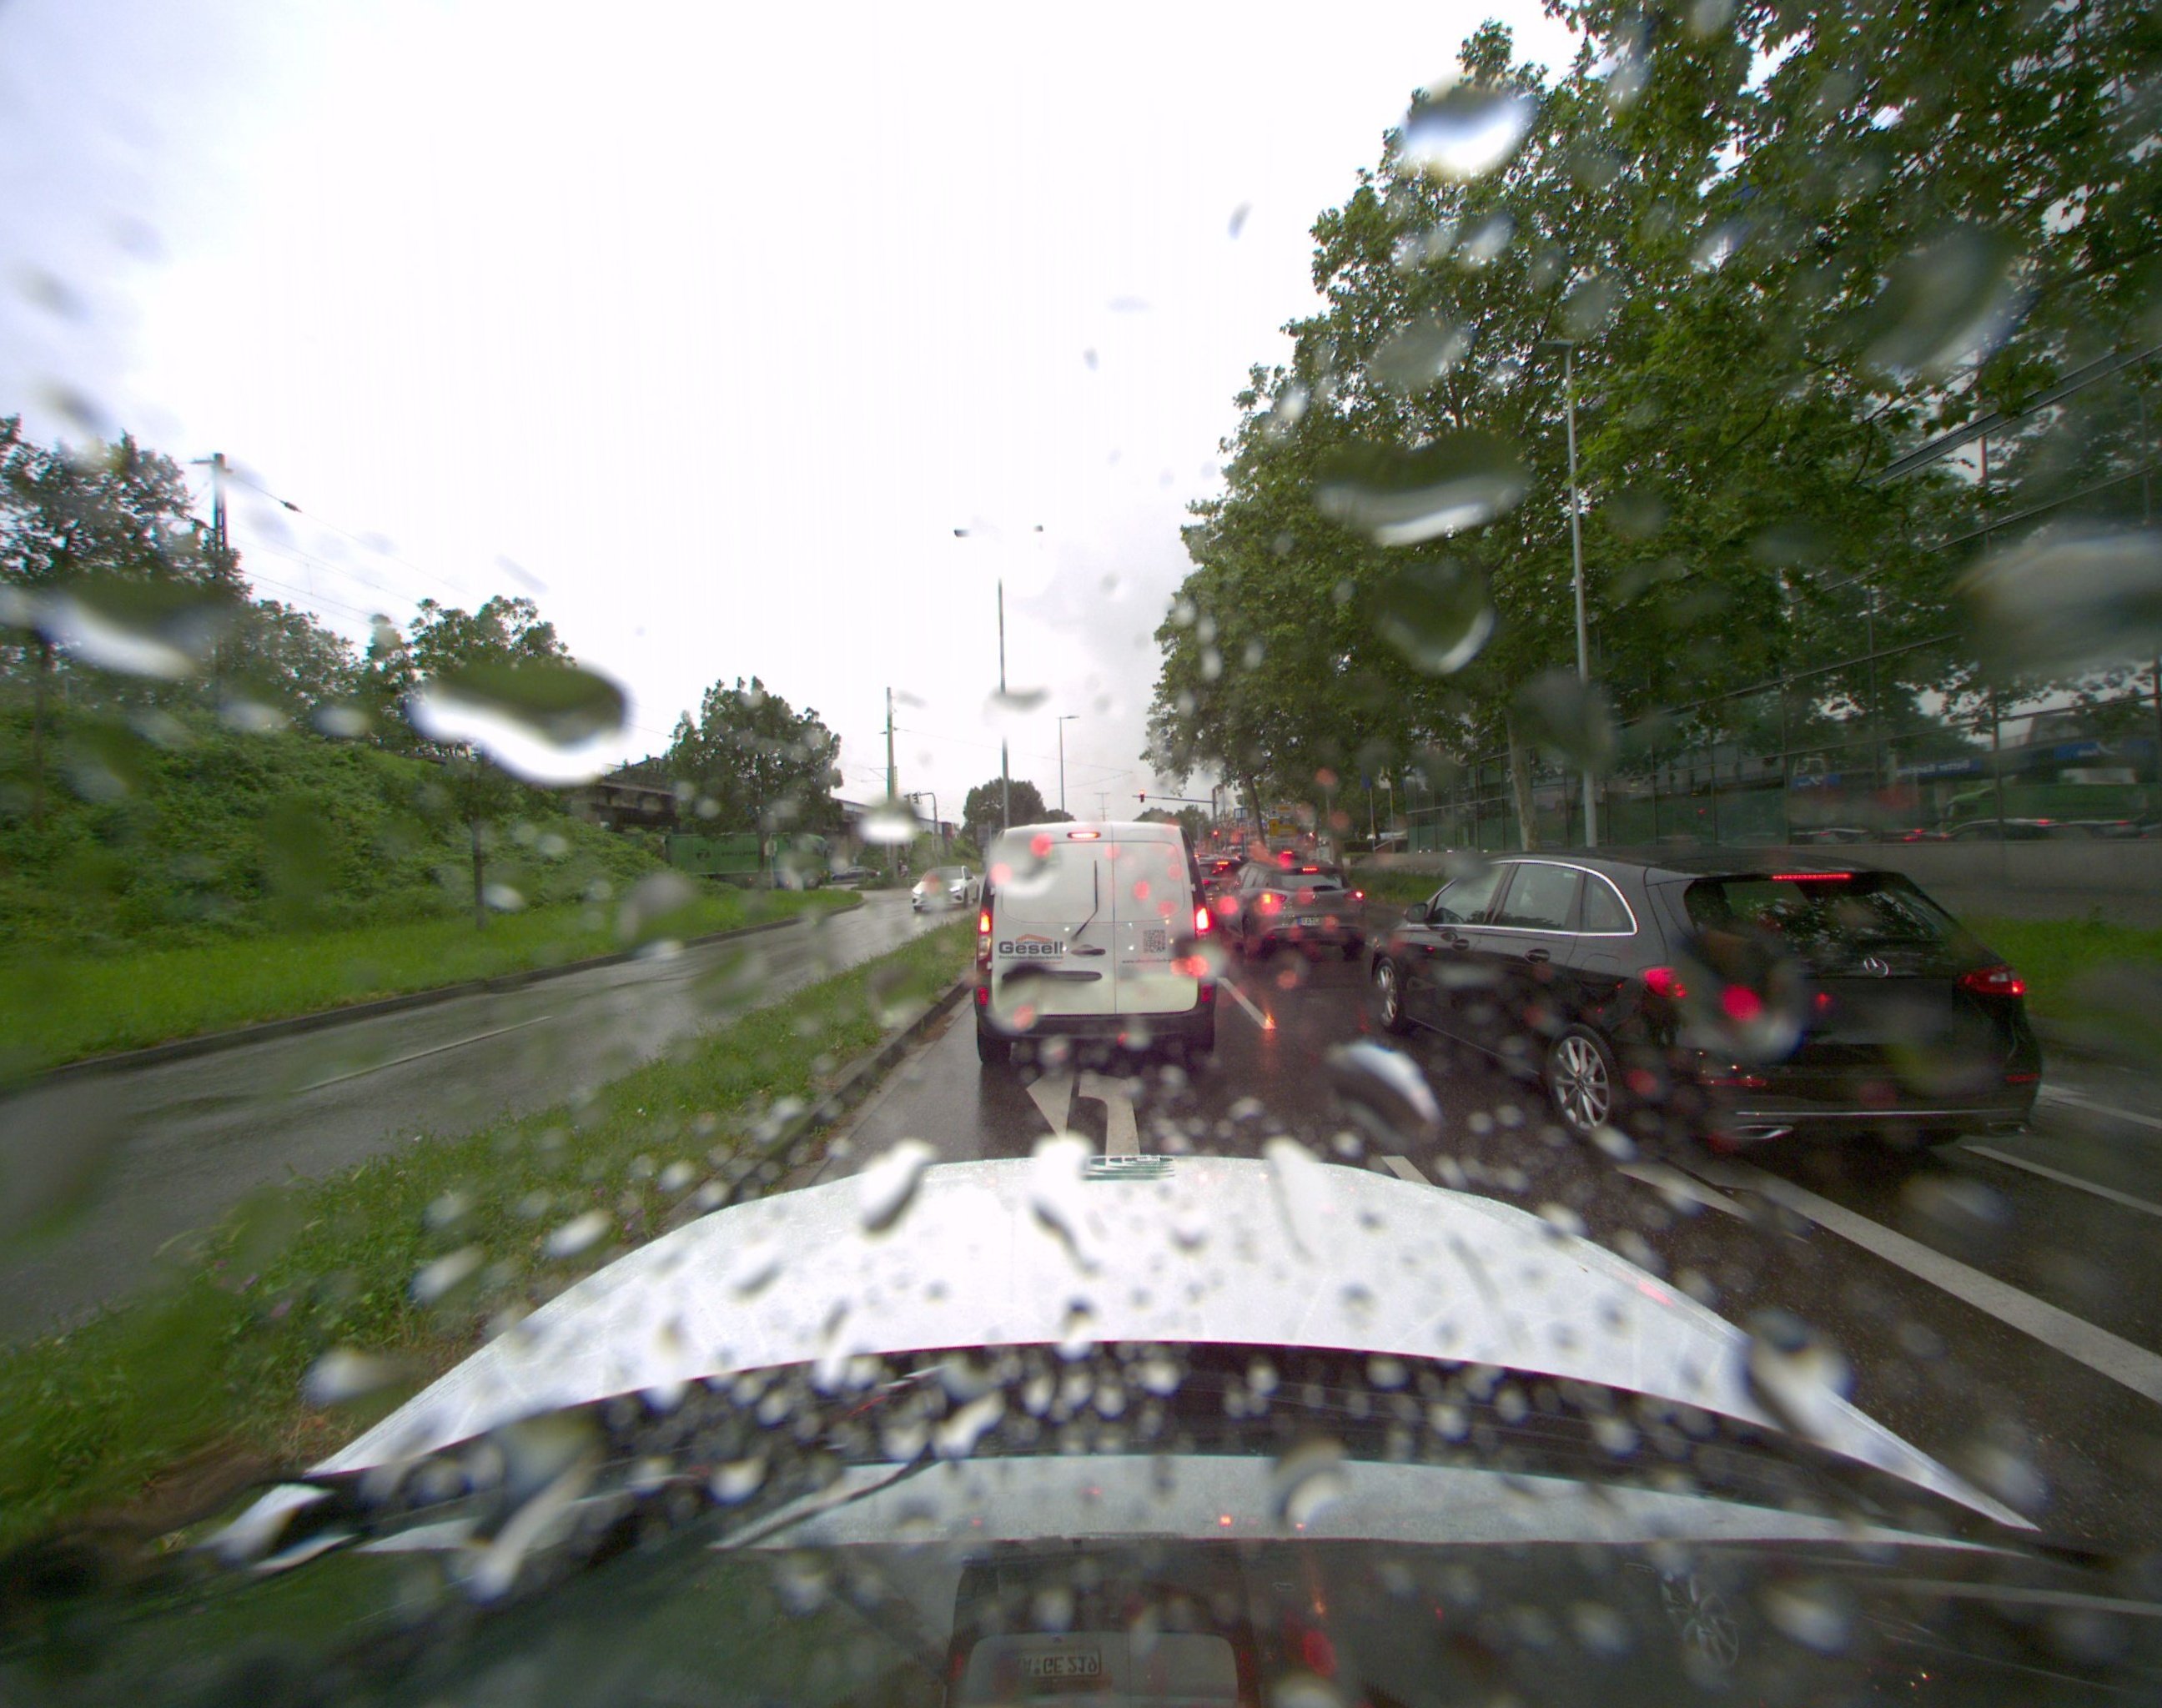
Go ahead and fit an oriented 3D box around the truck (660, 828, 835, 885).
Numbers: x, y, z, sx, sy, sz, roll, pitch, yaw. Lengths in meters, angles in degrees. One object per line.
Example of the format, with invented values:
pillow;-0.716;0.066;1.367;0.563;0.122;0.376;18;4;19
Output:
truck;-21.199;0.092;52.322;10.105;3.371;2.322;-2;0;-35

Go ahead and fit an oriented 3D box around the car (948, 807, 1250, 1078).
car;0.194;0.591;7.764;1.986;1.776;4.587;-1;0;2

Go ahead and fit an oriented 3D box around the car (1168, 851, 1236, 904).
car;4.060;0.732;27.893;1.847;1.649;3.844;-1;0;2

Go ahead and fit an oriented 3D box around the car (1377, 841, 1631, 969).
car;6.094;0.635;12.325;1.869;1.613;4.002;0;0;2

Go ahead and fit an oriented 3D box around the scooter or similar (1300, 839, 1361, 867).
scooter or similar;23.448;-0.071;76.678;1.905;2.446;5.257;-1;0;-39

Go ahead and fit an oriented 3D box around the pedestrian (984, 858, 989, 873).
pedestrian;-11.248;1.377;96.729;0.541;1.716;0.563;0;-1;-2

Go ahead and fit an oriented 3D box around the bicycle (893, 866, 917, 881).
bicycle;-12.128;1.338;56.015;1.045;0.952;2.866;-2;0;-22

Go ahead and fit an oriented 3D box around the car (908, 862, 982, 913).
car;-4.696;1.124;28.702;1.728;1.519;4.048;-4;-1;1

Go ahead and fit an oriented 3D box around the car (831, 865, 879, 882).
car;-20.793;1.781;75.022;3.886;1.385;1.663;-2;0;-35

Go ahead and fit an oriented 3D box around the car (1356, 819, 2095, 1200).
car;3.377;0.649;5.441;1.741;1.554;4.091;-1;0;1

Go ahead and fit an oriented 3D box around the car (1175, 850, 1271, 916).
car;3.502;0.659;20.674;1.847;1.460;3.844;-1;0;2

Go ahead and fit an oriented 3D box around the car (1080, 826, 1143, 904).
car;0.971;0.324;26.472;1.847;2.296;3.844;-1;0;2

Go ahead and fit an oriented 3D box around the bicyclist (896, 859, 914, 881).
bicyclist;-12.106;1.090;55.952;1.045;1.450;0.723;-2;0;-23

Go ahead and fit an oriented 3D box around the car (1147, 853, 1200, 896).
car;3.754;0.818;33.566;1.847;1.650;3.844;-1;-1;2

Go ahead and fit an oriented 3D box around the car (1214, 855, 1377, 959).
car;3.256;0.734;13.118;1.677;1.408;3.844;0;0;1

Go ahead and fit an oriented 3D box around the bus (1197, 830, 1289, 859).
bus;21.889;-1.341;110.583;11.926;3.423;2.316;-2;0;1
